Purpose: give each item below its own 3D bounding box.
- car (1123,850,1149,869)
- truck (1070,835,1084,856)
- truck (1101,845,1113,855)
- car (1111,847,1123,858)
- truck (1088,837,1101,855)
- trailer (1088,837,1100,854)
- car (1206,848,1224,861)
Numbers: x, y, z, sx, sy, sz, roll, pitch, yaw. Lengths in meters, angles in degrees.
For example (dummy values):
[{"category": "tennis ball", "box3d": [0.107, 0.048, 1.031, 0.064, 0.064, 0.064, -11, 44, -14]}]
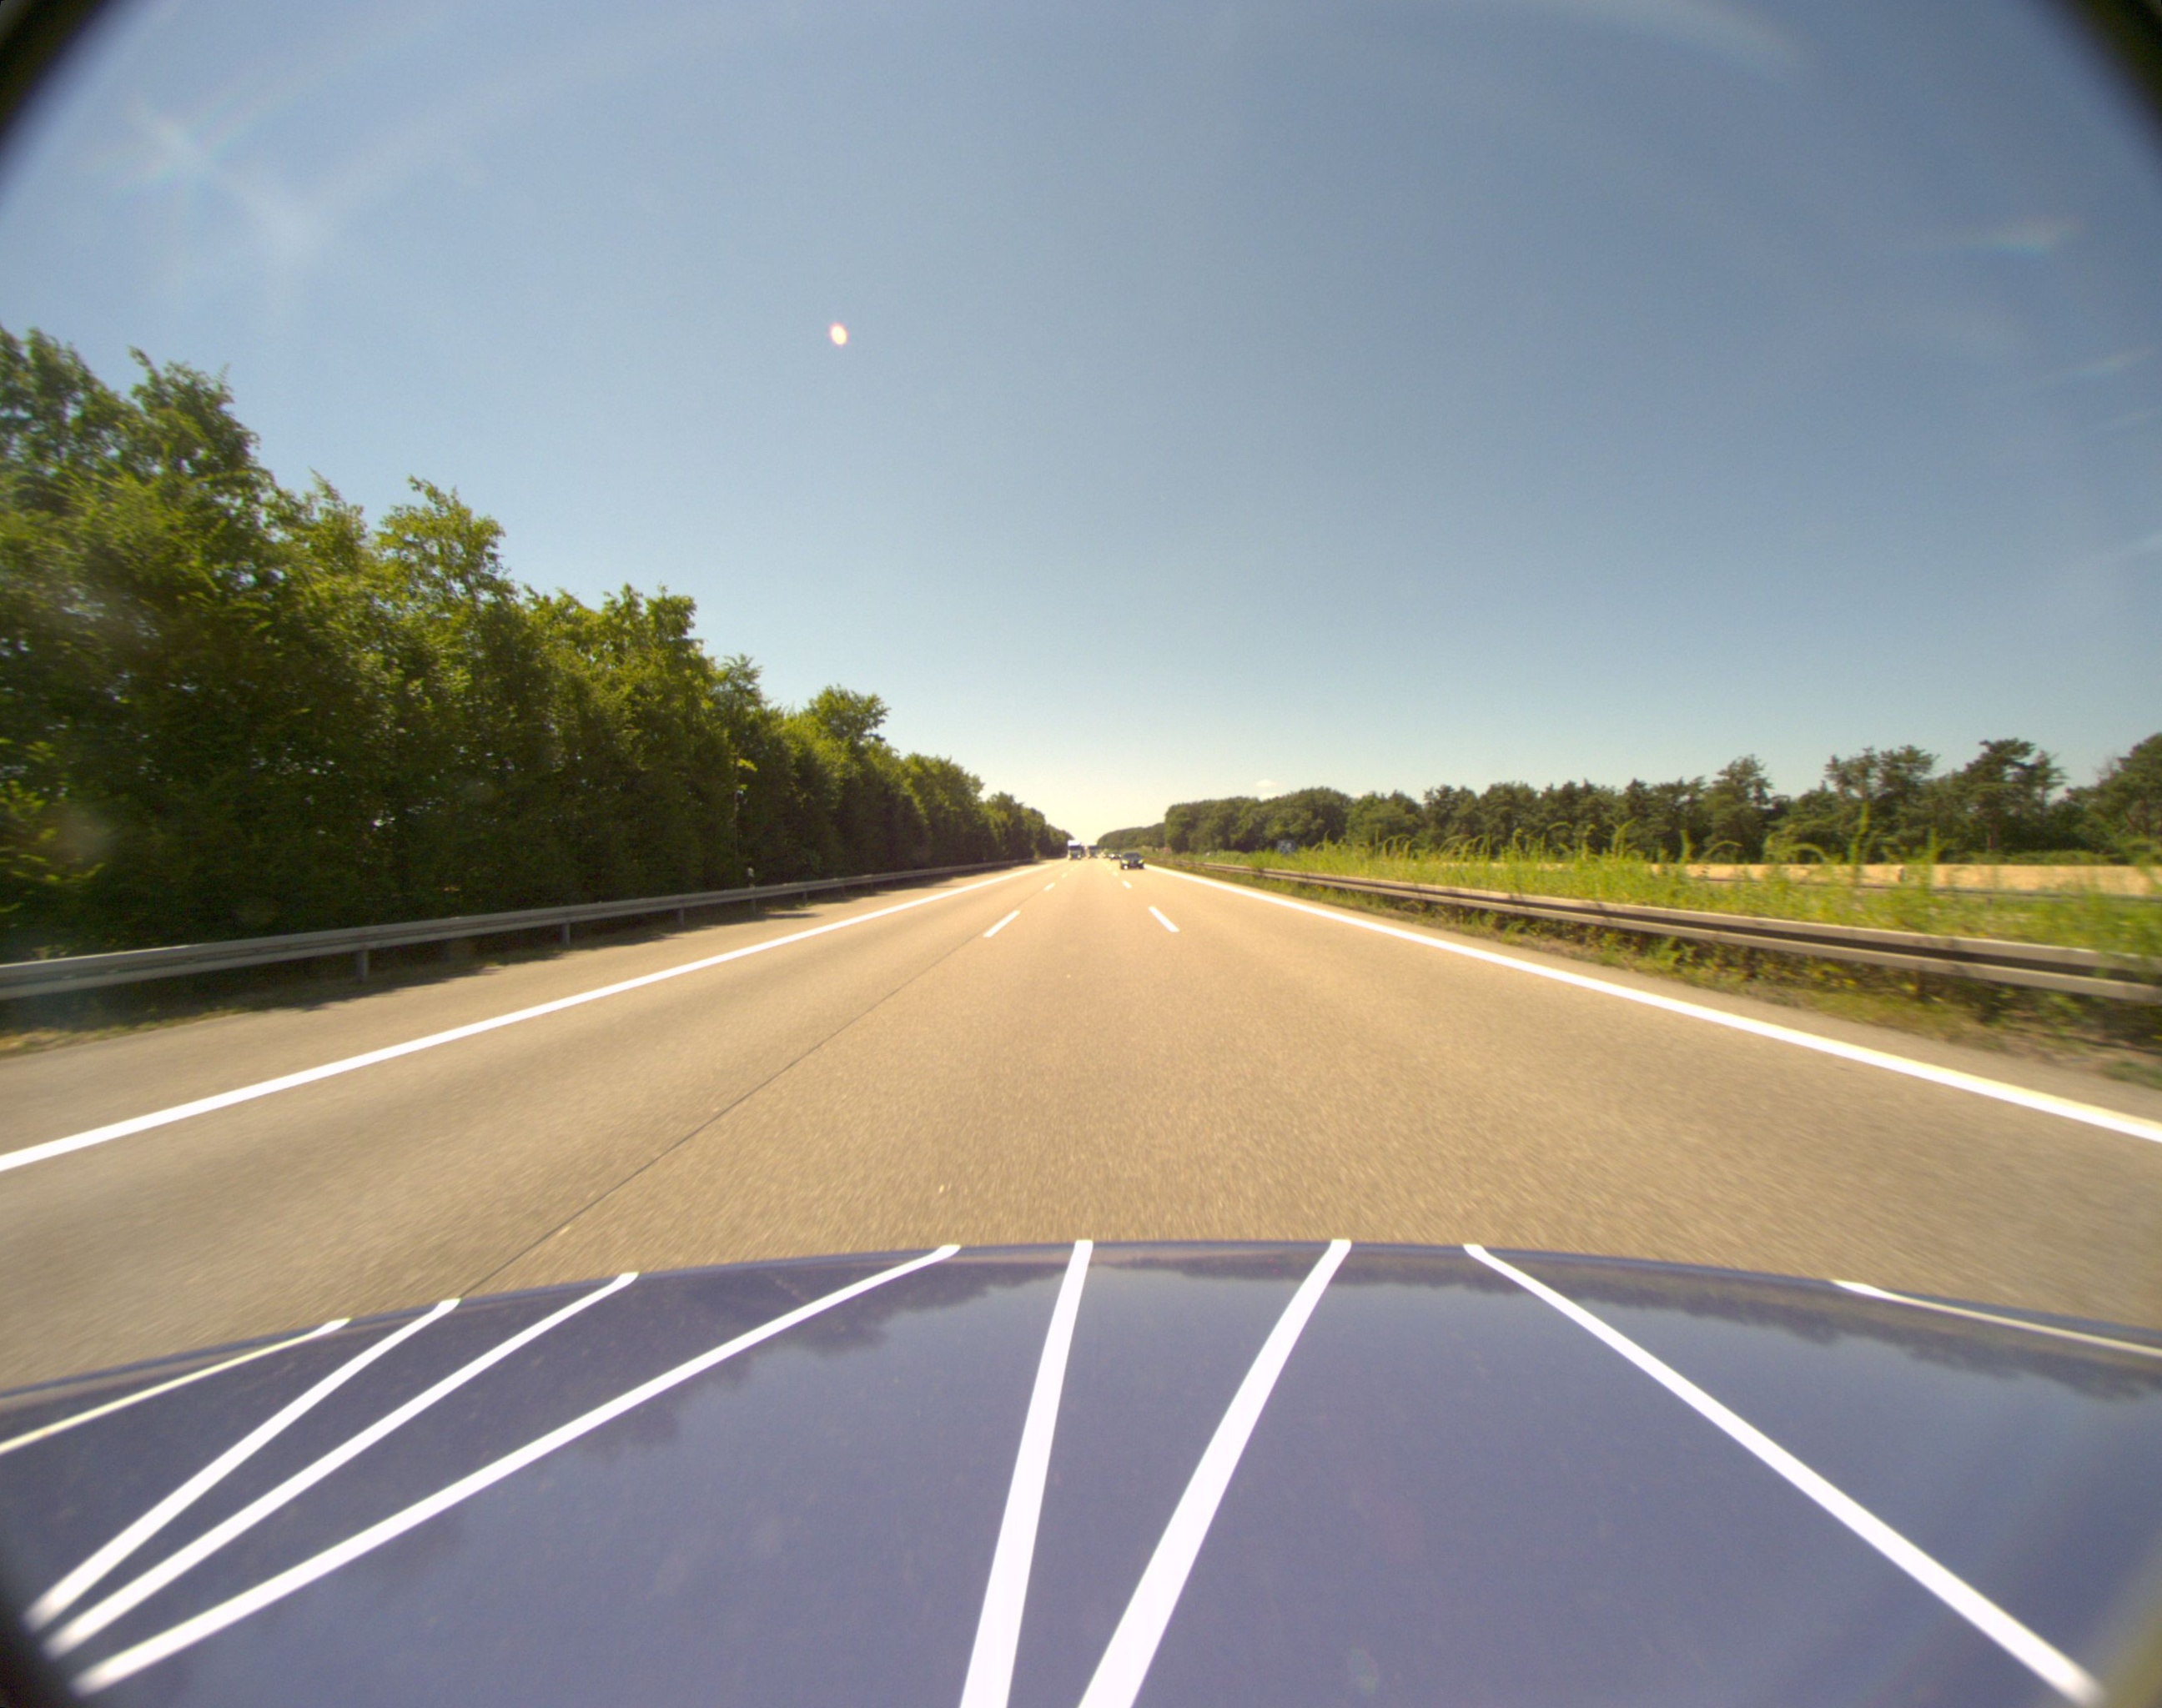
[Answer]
[{"category": "car", "box3d": [4.562, 0.440, 63.294, 1.811, 1.399, 3.999, -2, 1, 0]}, {"category": "truck", "box3d": [-0.849, -1.814, 160.762, 2.863, 4.247, 6.863, -2, 1, 0]}, {"category": "truck", "box3d": [6.109, -0.953, 180.325, 2.576, 2.461, 5.614, -2, 0, 0]}, {"category": "car", "box3d": [5.998, -0.209, 126.382, 1.806, 1.774, 4.000, -1, 1, 1]}, {"category": "truck", "box3d": [3.321, -2.073, 189.300, 2.863, 4.247, 5.411, -2, 1, 0]}, {"category": "trailer", "box3d": [3.348, -2.118, 195.691, 2.863, 4.247, 11.470, -2, 0, 0]}, {"category": "car", "box3d": [18.543, 0.034, 105.495, 1.852, 1.768, 4.430, 0, 1, 1]}]
